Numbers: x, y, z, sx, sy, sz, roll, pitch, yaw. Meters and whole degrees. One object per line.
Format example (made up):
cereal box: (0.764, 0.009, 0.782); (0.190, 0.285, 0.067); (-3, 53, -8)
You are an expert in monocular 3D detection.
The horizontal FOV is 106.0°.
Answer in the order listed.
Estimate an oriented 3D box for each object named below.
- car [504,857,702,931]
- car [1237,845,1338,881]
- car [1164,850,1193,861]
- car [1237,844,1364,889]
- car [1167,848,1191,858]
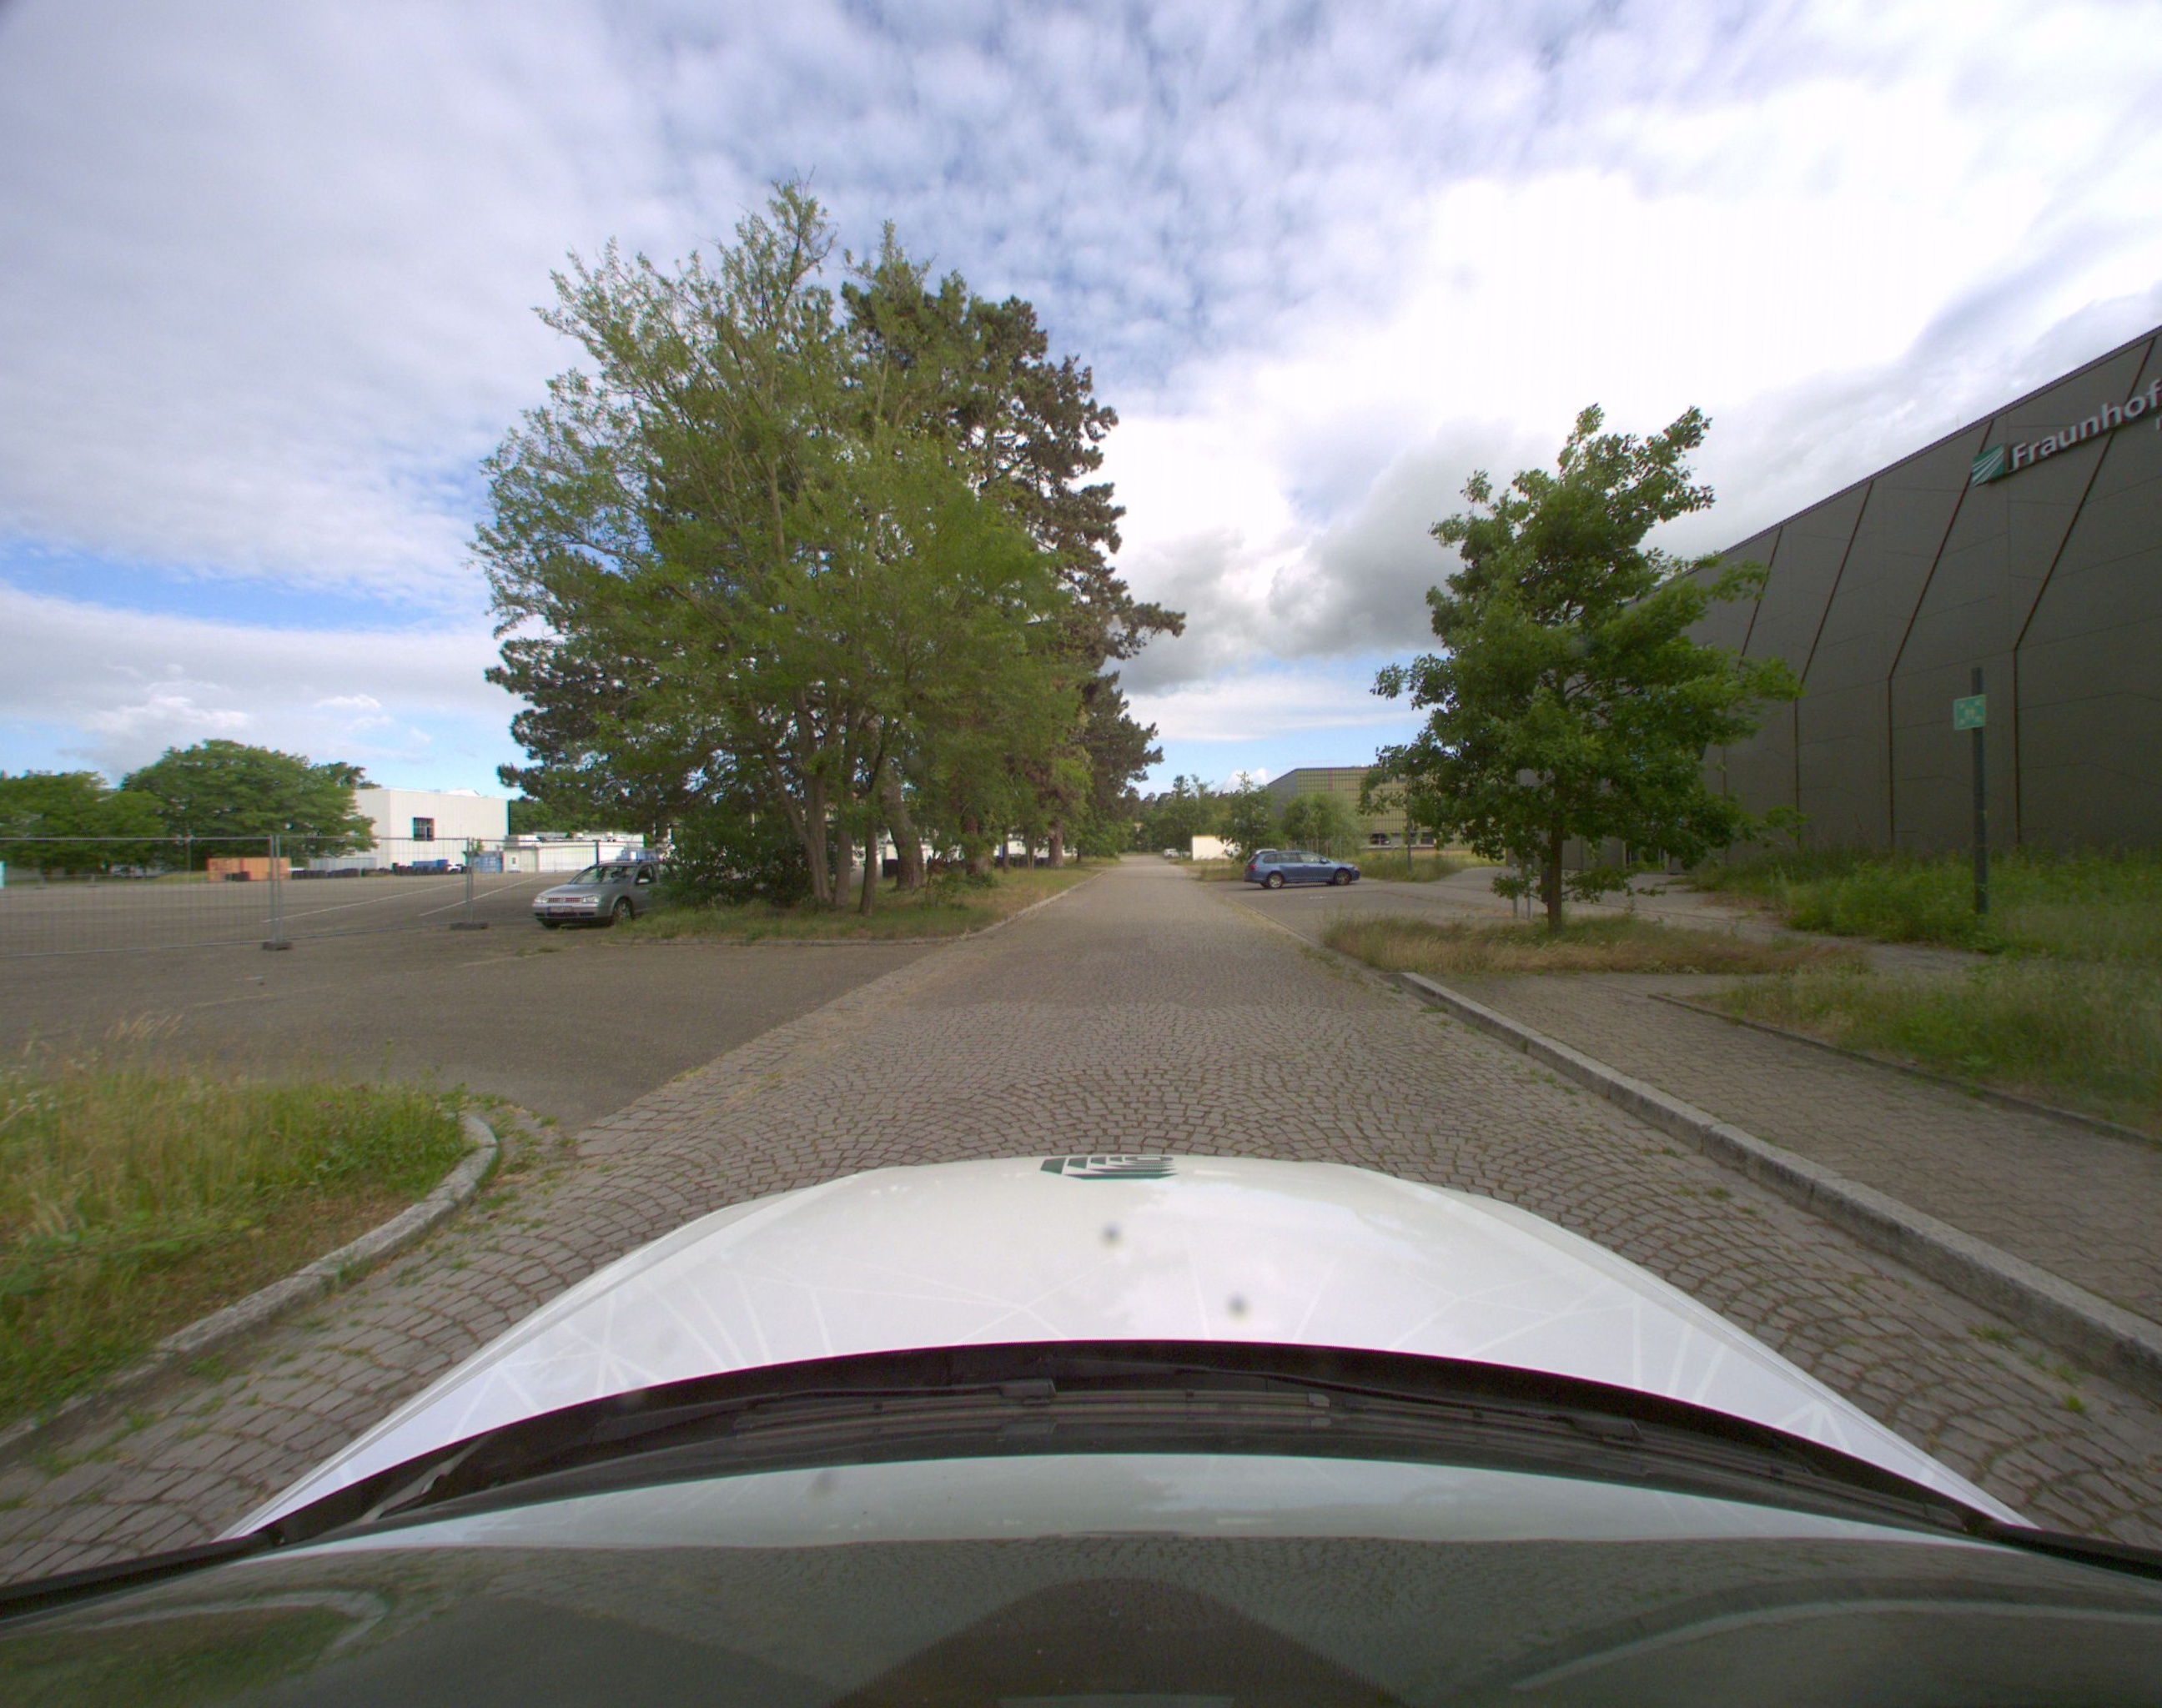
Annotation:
car: (-10.909, 0.838, 19.035); (1.912, 1.477, 4.371); (-1, 0, 2)
car: (10.048, 0.424, 39.865); (4.496, 1.531, 2.003); (-3, 0, 4)
car: (15.137, 0.245, 126.029); (4.336, 1.687, 1.927); (-1, 0, 3)
car: (8.702, 0.481, 32.586); (4.502, 1.531, 2.000); (-3, 0, 1)
car: (17.677, -0.237, 146.926); (4.333, 1.780, 1.928); (-1, 0, 5)
